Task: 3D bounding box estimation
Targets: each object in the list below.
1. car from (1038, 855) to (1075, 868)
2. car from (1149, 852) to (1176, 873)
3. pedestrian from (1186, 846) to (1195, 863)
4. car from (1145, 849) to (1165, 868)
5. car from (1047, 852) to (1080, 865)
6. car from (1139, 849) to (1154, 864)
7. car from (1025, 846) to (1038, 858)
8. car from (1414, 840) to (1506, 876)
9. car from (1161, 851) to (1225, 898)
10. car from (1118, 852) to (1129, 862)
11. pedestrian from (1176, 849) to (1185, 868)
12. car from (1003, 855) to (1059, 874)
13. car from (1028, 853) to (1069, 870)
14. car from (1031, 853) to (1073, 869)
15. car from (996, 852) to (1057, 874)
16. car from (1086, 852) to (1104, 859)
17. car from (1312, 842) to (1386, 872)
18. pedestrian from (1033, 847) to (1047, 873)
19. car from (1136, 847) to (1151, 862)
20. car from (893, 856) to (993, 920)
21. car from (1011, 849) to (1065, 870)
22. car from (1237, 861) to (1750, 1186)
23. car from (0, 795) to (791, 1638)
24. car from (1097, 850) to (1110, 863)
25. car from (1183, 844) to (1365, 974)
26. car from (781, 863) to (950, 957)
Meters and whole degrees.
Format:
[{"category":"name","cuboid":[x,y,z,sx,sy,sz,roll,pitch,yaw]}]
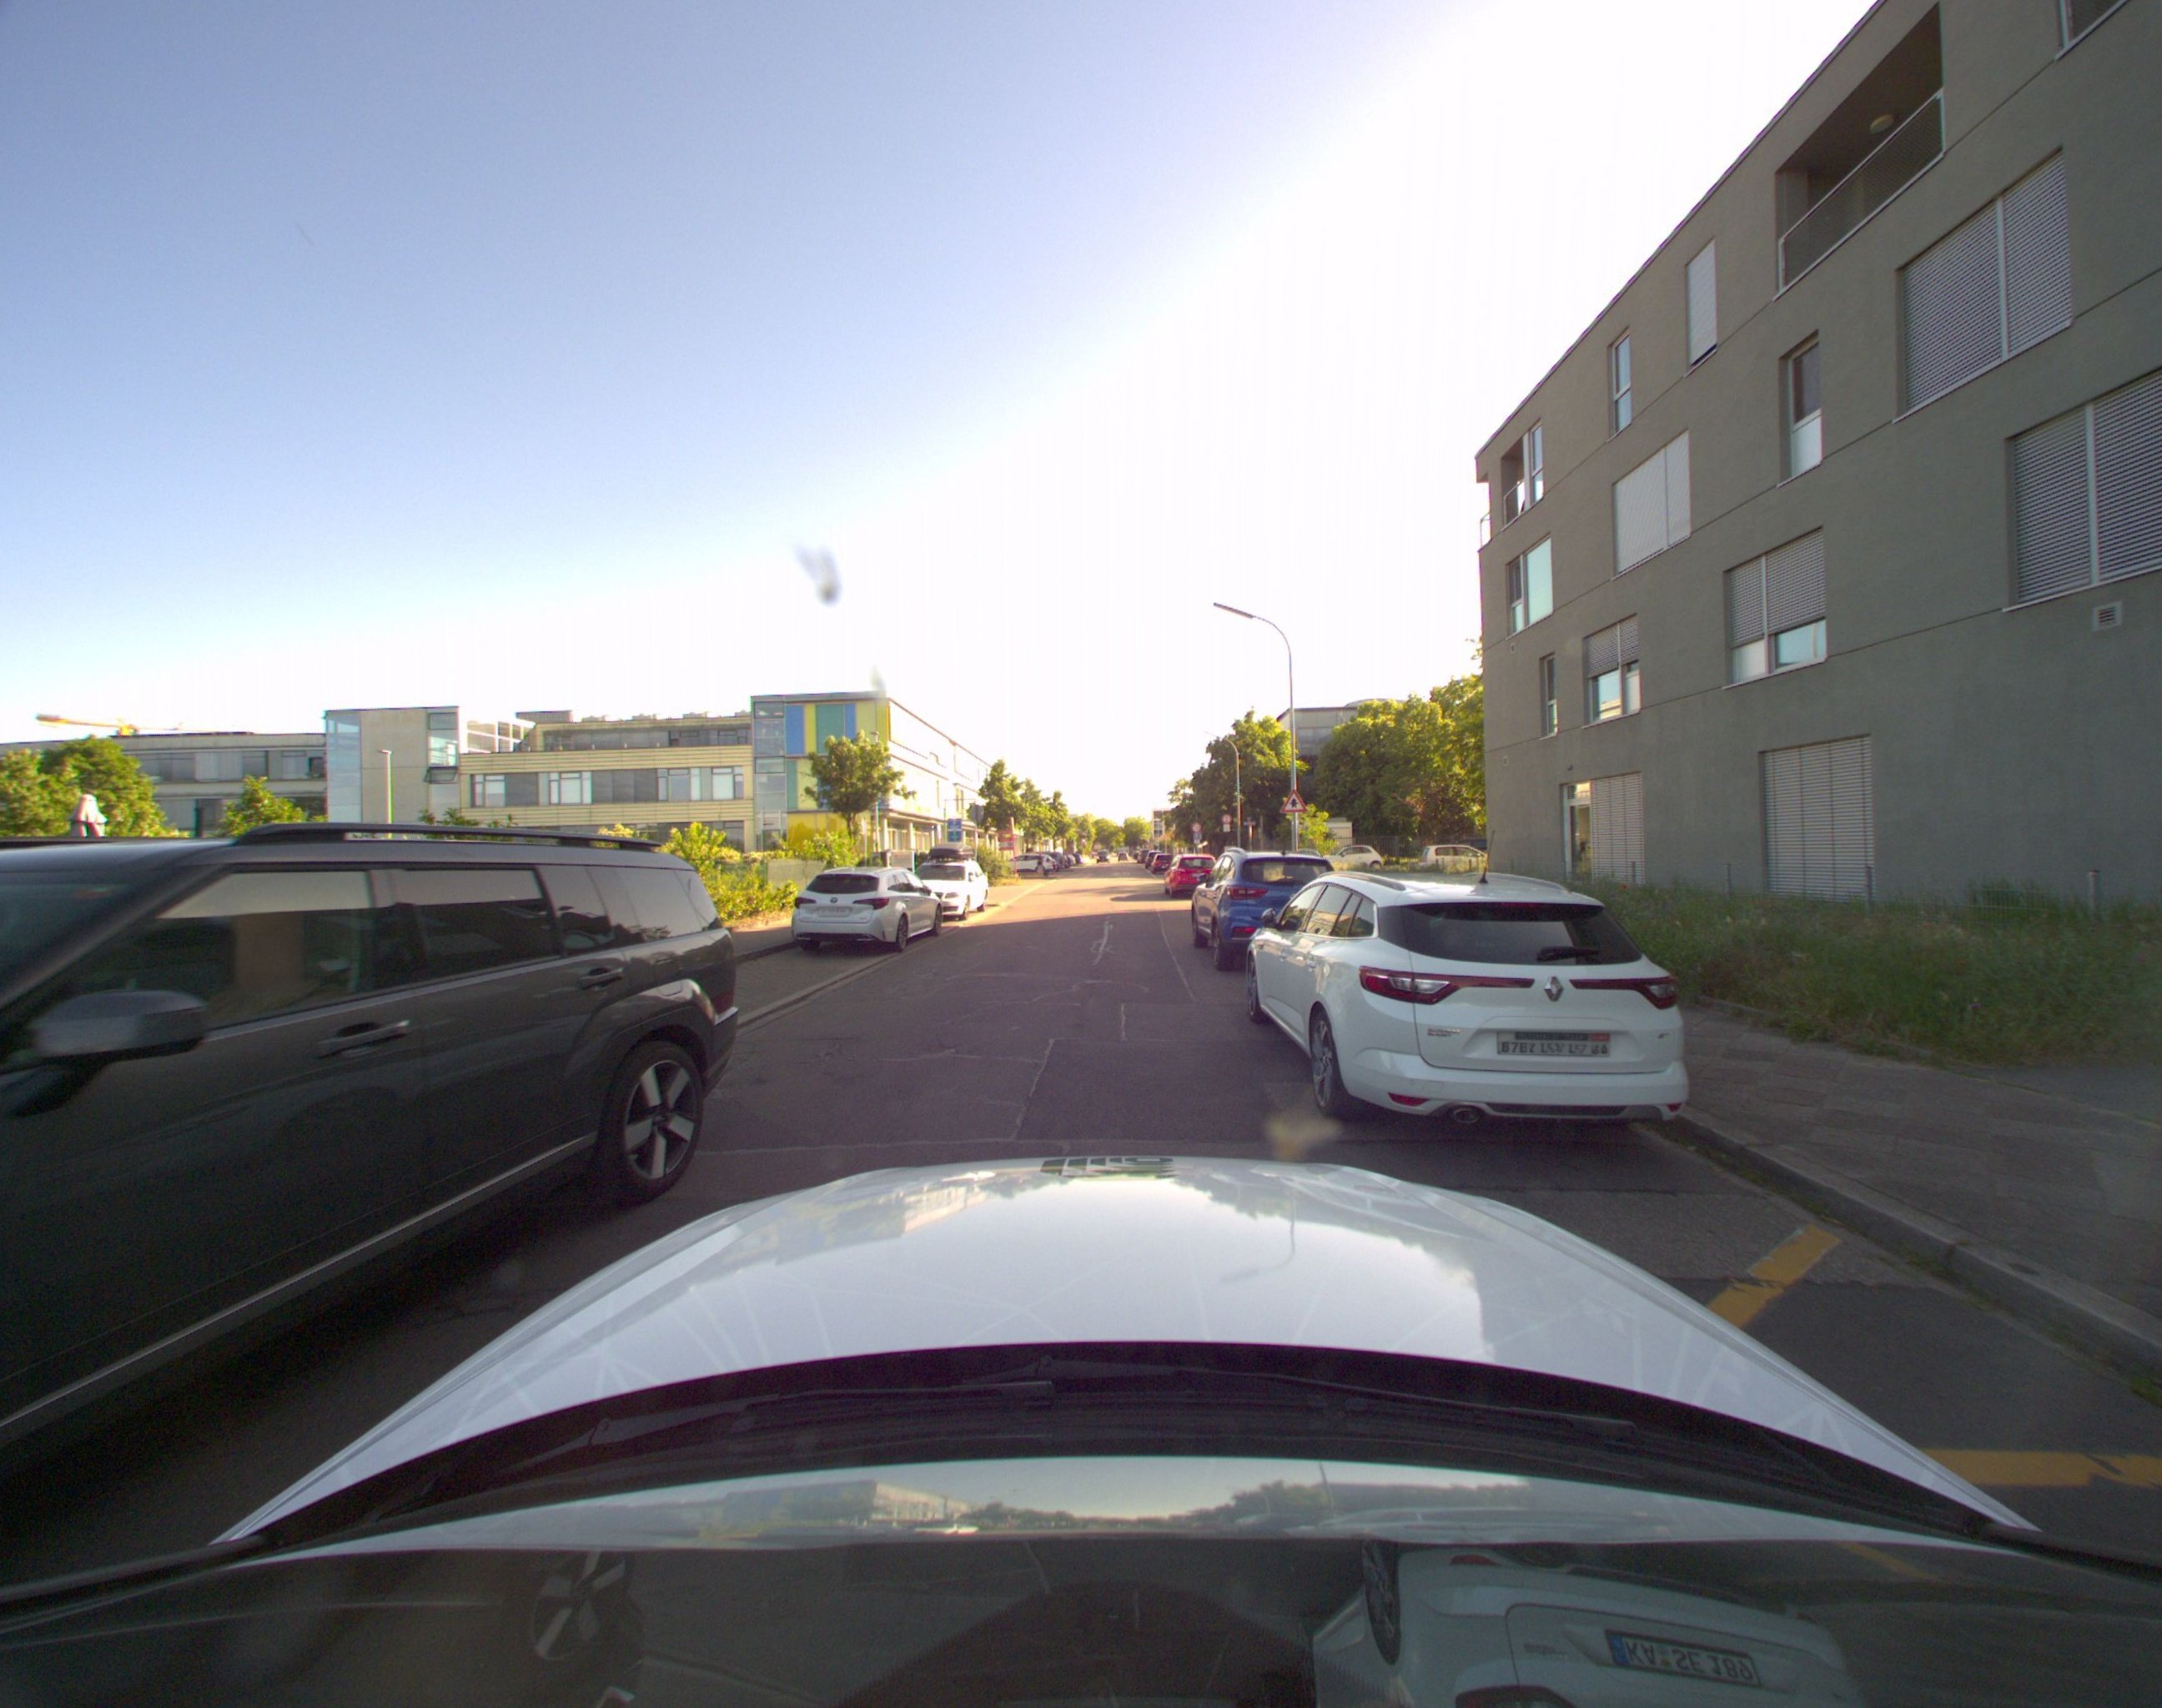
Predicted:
[{"category":"car","cuboid":[-2.700,0.810,89.279,3.975,1.358,1.742,0,0,-1]},{"category":"car","cuboid":[6.101,0.620,61.085,1.713,1.455,4.654,0,0,2]},{"category":"pedestrian","cuboid":[11.357,0.034,84.527,0.695,1.661,0.752,-4,0,2]},{"category":"car","cuboid":[6.970,0.435,77.116,1.804,1.666,4.597,0,1,4]},{"category":"car","cuboid":[-2.278,0.605,106.383,4.202,1.603,1.871,0,0,-1]},{"category":"car","cuboid":[8.229,0.268,102.064,1.725,1.830,3.908,-2,0,3]},{"category":"car","cuboid":[-8.832,-0.391,145.500,1.985,2.014,4.002,-1,-1,3]},{"category":"car","cuboid":[16.671,0.187,35.937,3.308,1.458,1.718,-2,0,7]},{"category":"car","cuboid":[3.863,0.660,28.773,1.812,1.499,4.455,0,0,2]},{"category":"car","cuboid":[6.888,0.505,132.214,1.736,1.543,4.003,-1,0,3]},{"category":"pedestrian","cuboid":[9.448,0.418,77.255,0.714,1.758,0.885,-4,0,3]},{"category":"car","cuboid":[-4.144,0.888,68.016,4.415,1.501,1.829,-1,0,3]},{"category":"car","cuboid":[-3.172,0.722,80.639,3.975,1.607,1.871,0,0,-1]},{"category":"car","cuboid":[-2.947,0.677,83.589,4.234,1.611,2.047,0,0,-1]},{"category":"car","cuboid":[-4.326,0.689,65.377,4.588,1.651,1.871,-1,0,6]},{"category":"car","cuboid":[3.322,0.276,189.926,3.970,1.519,2.001,-1,-1,3]},{"category":"car","cuboid":[14.558,0.157,44.393,3.531,1.486,1.602,-2,0,3]},{"category":"pedestrian","cuboid":[-2.904,0.446,57.856,0.854,1.842,0.826,0,0,4]},{"category":"car","cuboid":[8.817,0.111,114.548,1.867,1.978,4.003,-3,0,3]},{"category":"car","cuboid":[-3.556,0.820,21.749,1.689,1.513,4.520,1,0,3]},{"category":"car","cuboid":[-3.890,0.523,73.664,4.722,1.865,1.829,0,0,3]},{"category":"car","cuboid":[2.330,0.794,6.051,1.737,1.429,4.590,0,0,3]},{"category":"car","cuboid":[-3.086,0.771,2.842,1.933,1.727,4.847,-2,0,6]},{"category":"car","cuboid":[3.347,0.393,120.799,1.947,1.867,5.257,-1,0,2]},{"category":"car","cuboid":[2.660,0.670,12.327,1.810,1.599,4.629,0,0,2]},{"category":"car","cuboid":[-3.841,0.925,15.371,1.739,1.446,4.545,0,0,3]}]
